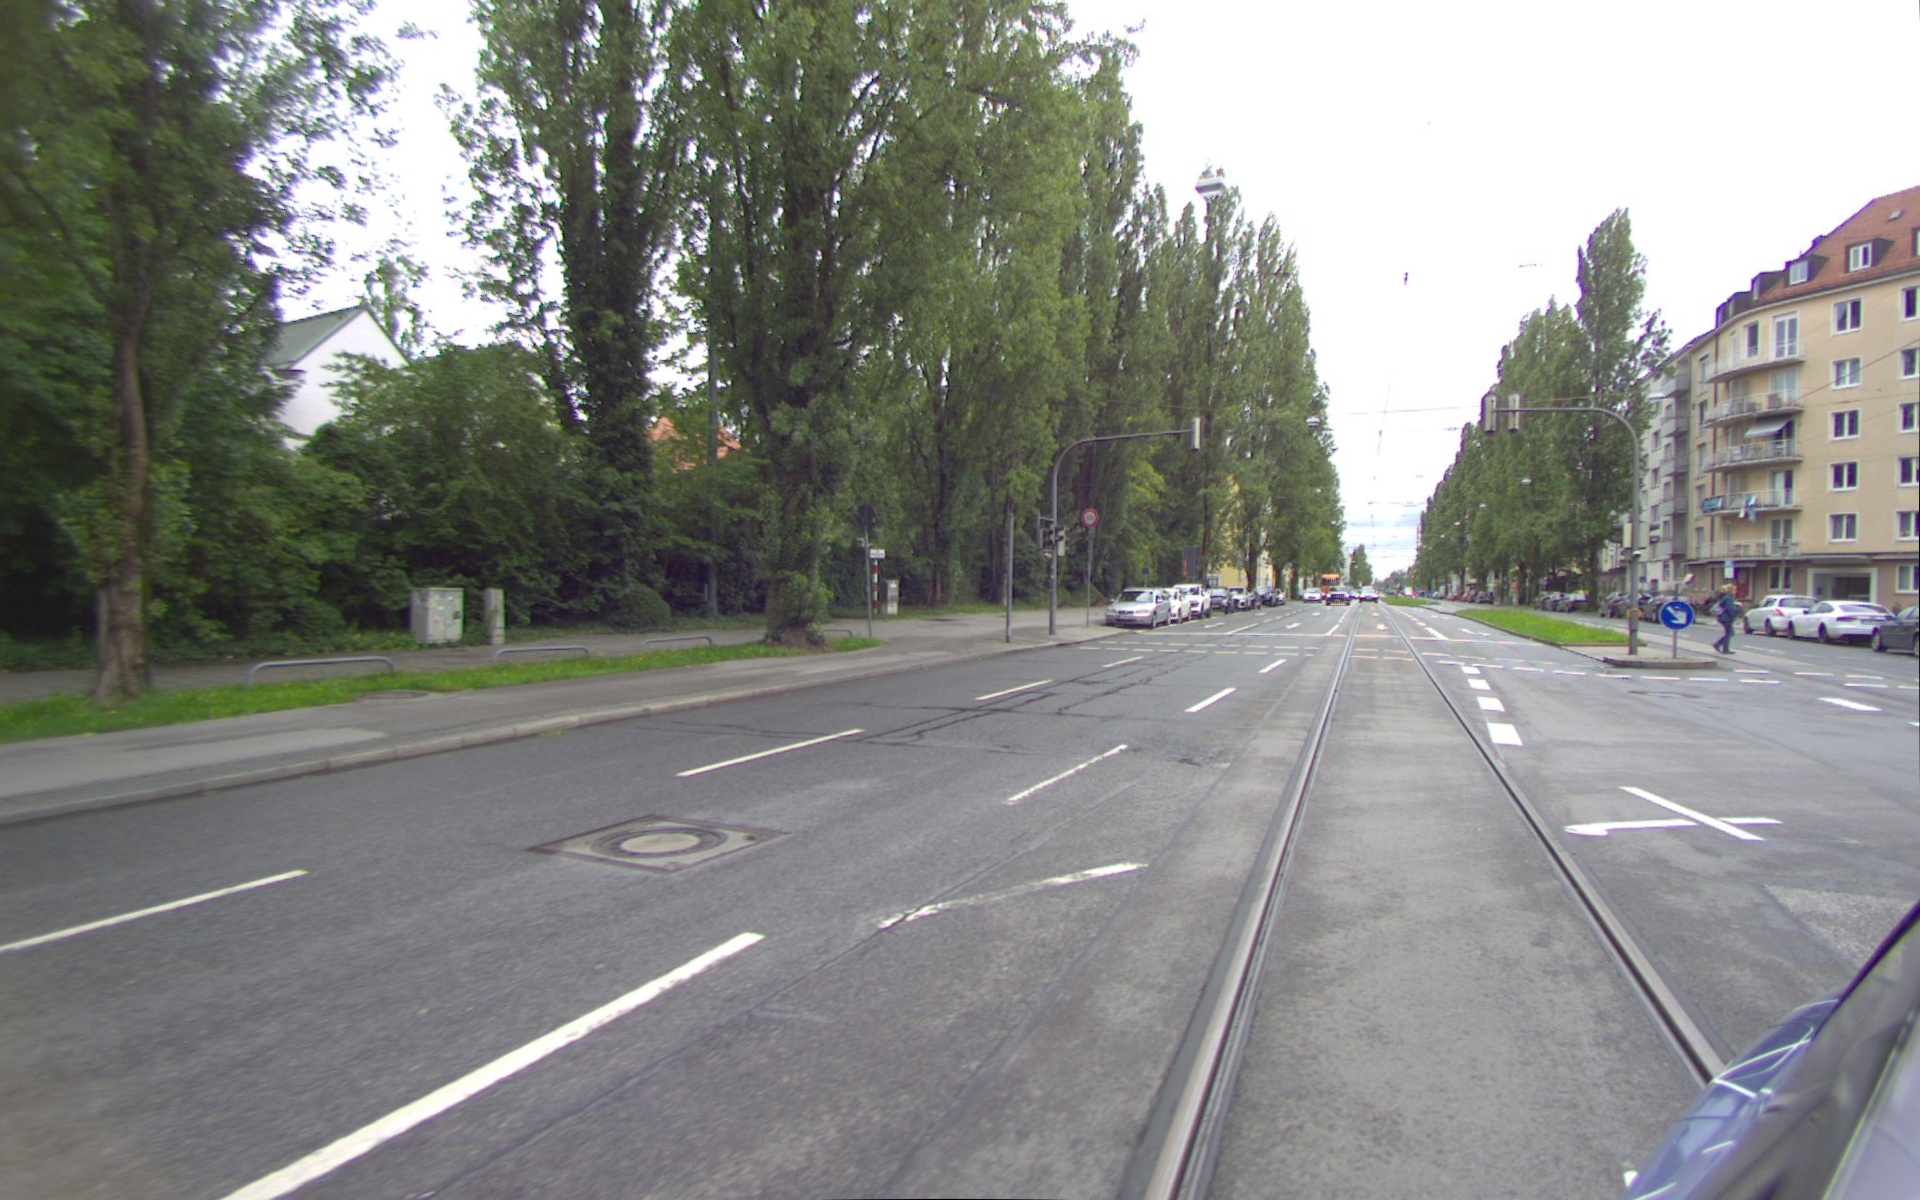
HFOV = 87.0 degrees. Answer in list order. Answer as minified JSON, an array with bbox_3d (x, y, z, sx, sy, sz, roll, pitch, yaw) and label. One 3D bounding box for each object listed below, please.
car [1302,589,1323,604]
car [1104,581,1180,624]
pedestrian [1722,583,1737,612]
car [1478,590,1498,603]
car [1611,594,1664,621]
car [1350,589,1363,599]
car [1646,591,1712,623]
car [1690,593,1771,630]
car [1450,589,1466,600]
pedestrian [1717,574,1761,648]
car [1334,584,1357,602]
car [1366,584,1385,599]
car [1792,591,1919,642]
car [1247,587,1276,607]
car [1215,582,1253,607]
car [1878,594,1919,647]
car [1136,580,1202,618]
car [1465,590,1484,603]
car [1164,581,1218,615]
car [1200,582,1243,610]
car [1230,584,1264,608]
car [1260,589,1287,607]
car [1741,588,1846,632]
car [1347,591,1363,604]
[{"bbox_3d":[37.032,-0.368,106.195,1.767,1.504,4.107,1,1,23],"label":"car"},{"bbox_3d":[6.837,0.035,37.734,1.768,1.504,4.315,1,1,25],"label":"car"},{"bbox_3d":[44.947,-0.159,59.106,0.539,1.686,0.648,1,-1,18],"label":"pedestrian"},{"bbox_3d":[67.287,-0.459,129.071,1.796,1.488,3.972,1,-1,21],"label":"car"},{"bbox_3d":[38.996,0.403,58.351,1.711,1.424,4.175,1,1,23],"label":"car"},{"bbox_3d":[59.567,-0.908,151.996,1.767,1.504,4.107,1,1,23],"label":"car"},{"bbox_3d":[35.876,0.325,50.581,1.711,1.424,4.441,1,1,23],"label":"car"},{"bbox_3d":[32.894,0.459,43.337,1.711,1.424,4.342,1,1,23],"label":"car"},{"bbox_3d":[82.628,-0.876,167.798,1.976,1.728,3.972,1,-1,21],"label":"car"},{"bbox_3d":[18.242,0.259,23.705,0.687,1.684,0.553,1,-1,-22],"label":"pedestrian"},{"bbox_3d":[34.022,-0.664,89.297,1.767,1.504,4.107,1,1,23],"label":"car"},{"bbox_3d":[44.581,-0.945,108.544,1.767,1.504,4.107,1,1,23],"label":"car"},{"bbox_3d":[27.900,0.457,31.635,1.711,1.424,4.342,1,1,23],"label":"car"},{"bbox_3d":[23.743,-0.274,79.628,1.767,1.504,4.107,1,1,23],"label":"car"},{"bbox_3d":[17.312,-0.380,63.811,1.767,1.504,4.107,1,1,23],"label":"car"},{"bbox_3d":[25.399,0.555,25.793,1.711,1.332,3.969,1,1,23],"label":"car"},{"bbox_3d":[8.887,-0.070,42.772,1.769,1.504,4.221,1,1,26],"label":"car"},{"bbox_3d":[70.788,-0.435,139.279,1.796,1.739,3.972,1,-1,21],"label":"car"},{"bbox_3d":[10.913,-0.144,47.622,1.767,1.504,4.107,1,1,23],"label":"car"},{"bbox_3d":[14.850,-0.266,57.371,1.767,1.504,4.107,1,1,23],"label":"car"},{"bbox_3d":[19.553,-0.295,68.812,1.767,1.504,4.107,1,1,23],"label":"car"},{"bbox_3d":[26.656,-0.197,85.972,1.767,1.504,4.107,1,1,23],"label":"car"},{"bbox_3d":[30.049,0.299,36.637,1.711,1.424,4.342,1,1,23],"label":"car"},{"bbox_3d":[48.760,-0.337,124.932,1.767,1.504,4.107,1,1,23],"label":"car"}]
